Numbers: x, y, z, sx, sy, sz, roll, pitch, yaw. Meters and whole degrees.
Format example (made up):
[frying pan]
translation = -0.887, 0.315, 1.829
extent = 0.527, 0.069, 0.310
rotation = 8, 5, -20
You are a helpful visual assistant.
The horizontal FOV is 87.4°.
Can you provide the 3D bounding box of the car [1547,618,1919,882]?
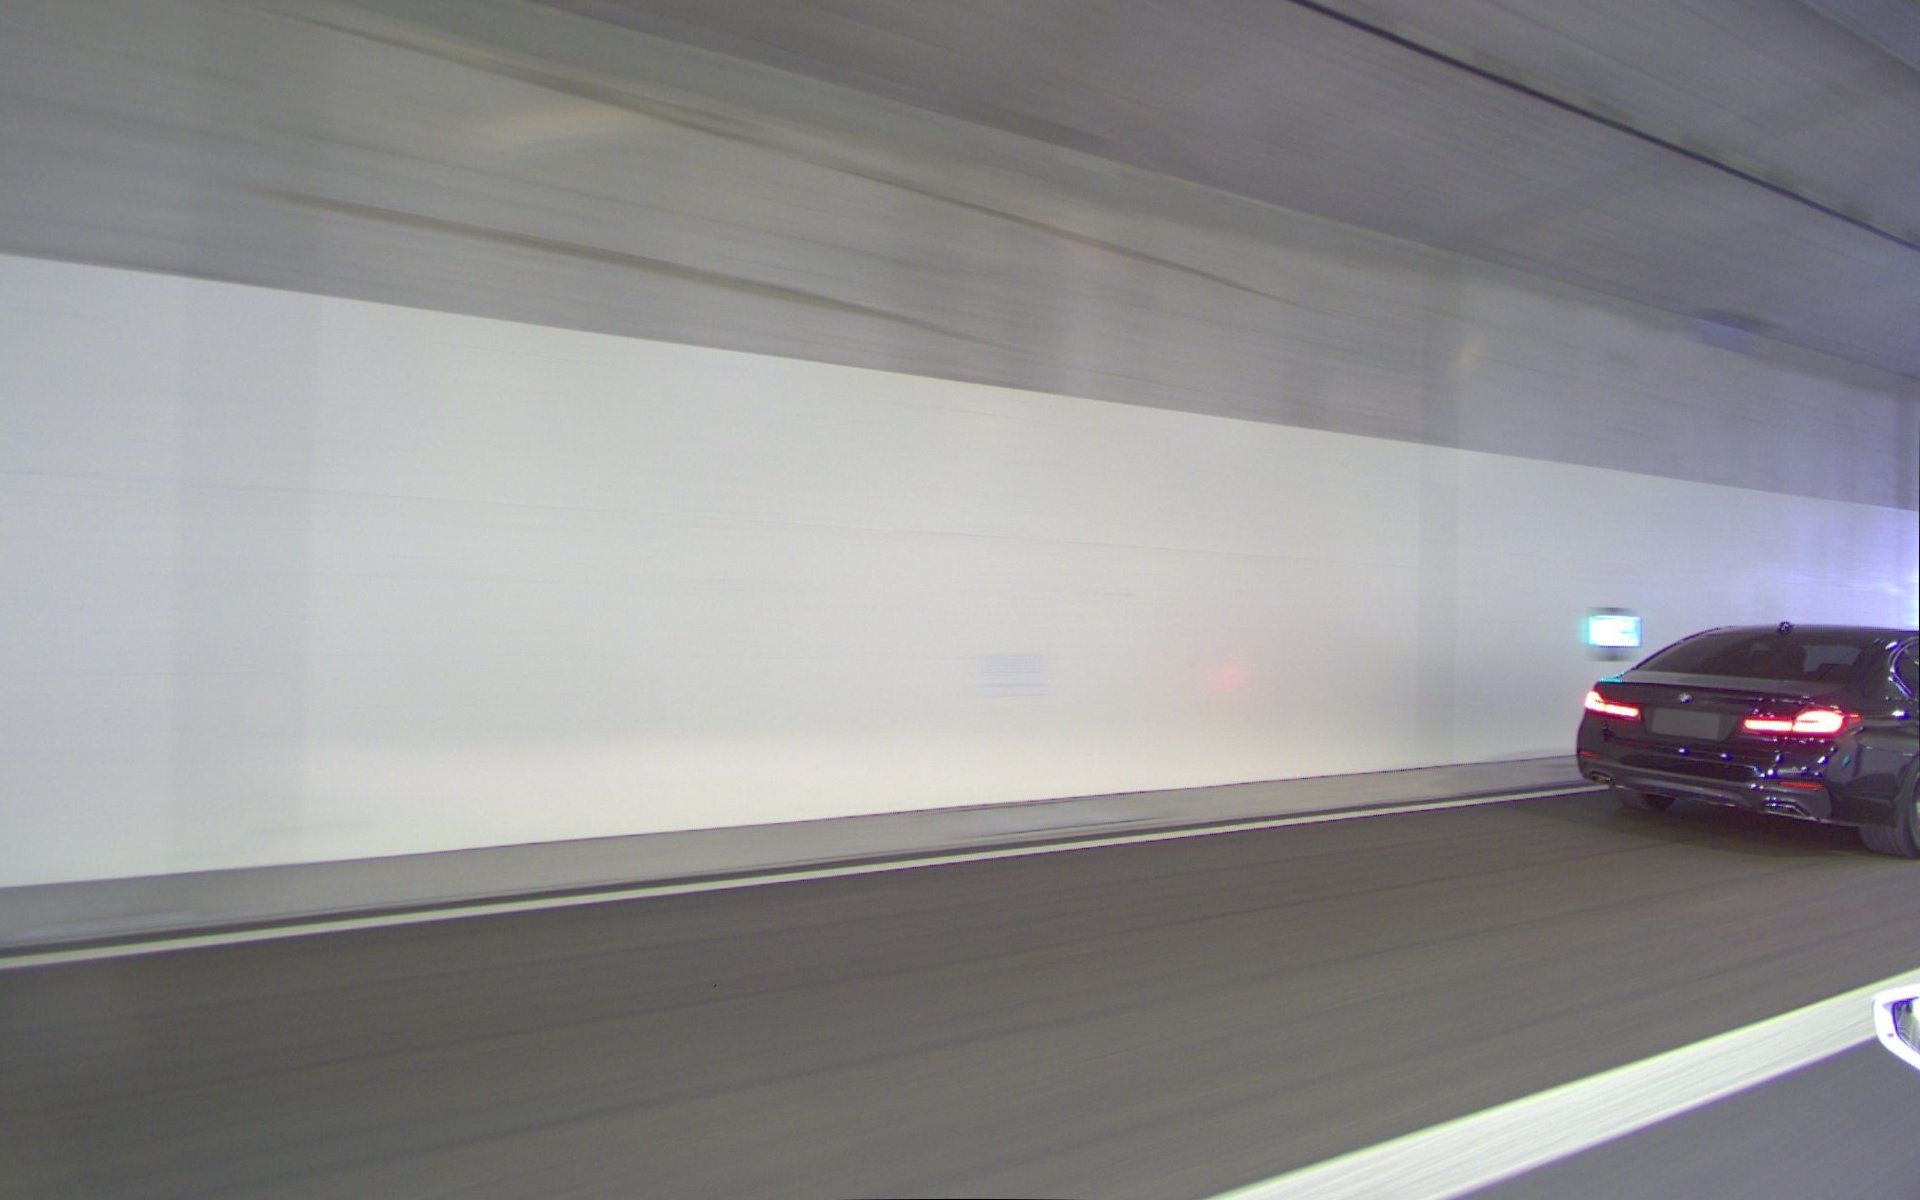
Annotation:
[car]
translation = 6.780, 0.931, 7.608
extent = 4.789, 1.441, 1.689
rotation = 1, 1, -27
